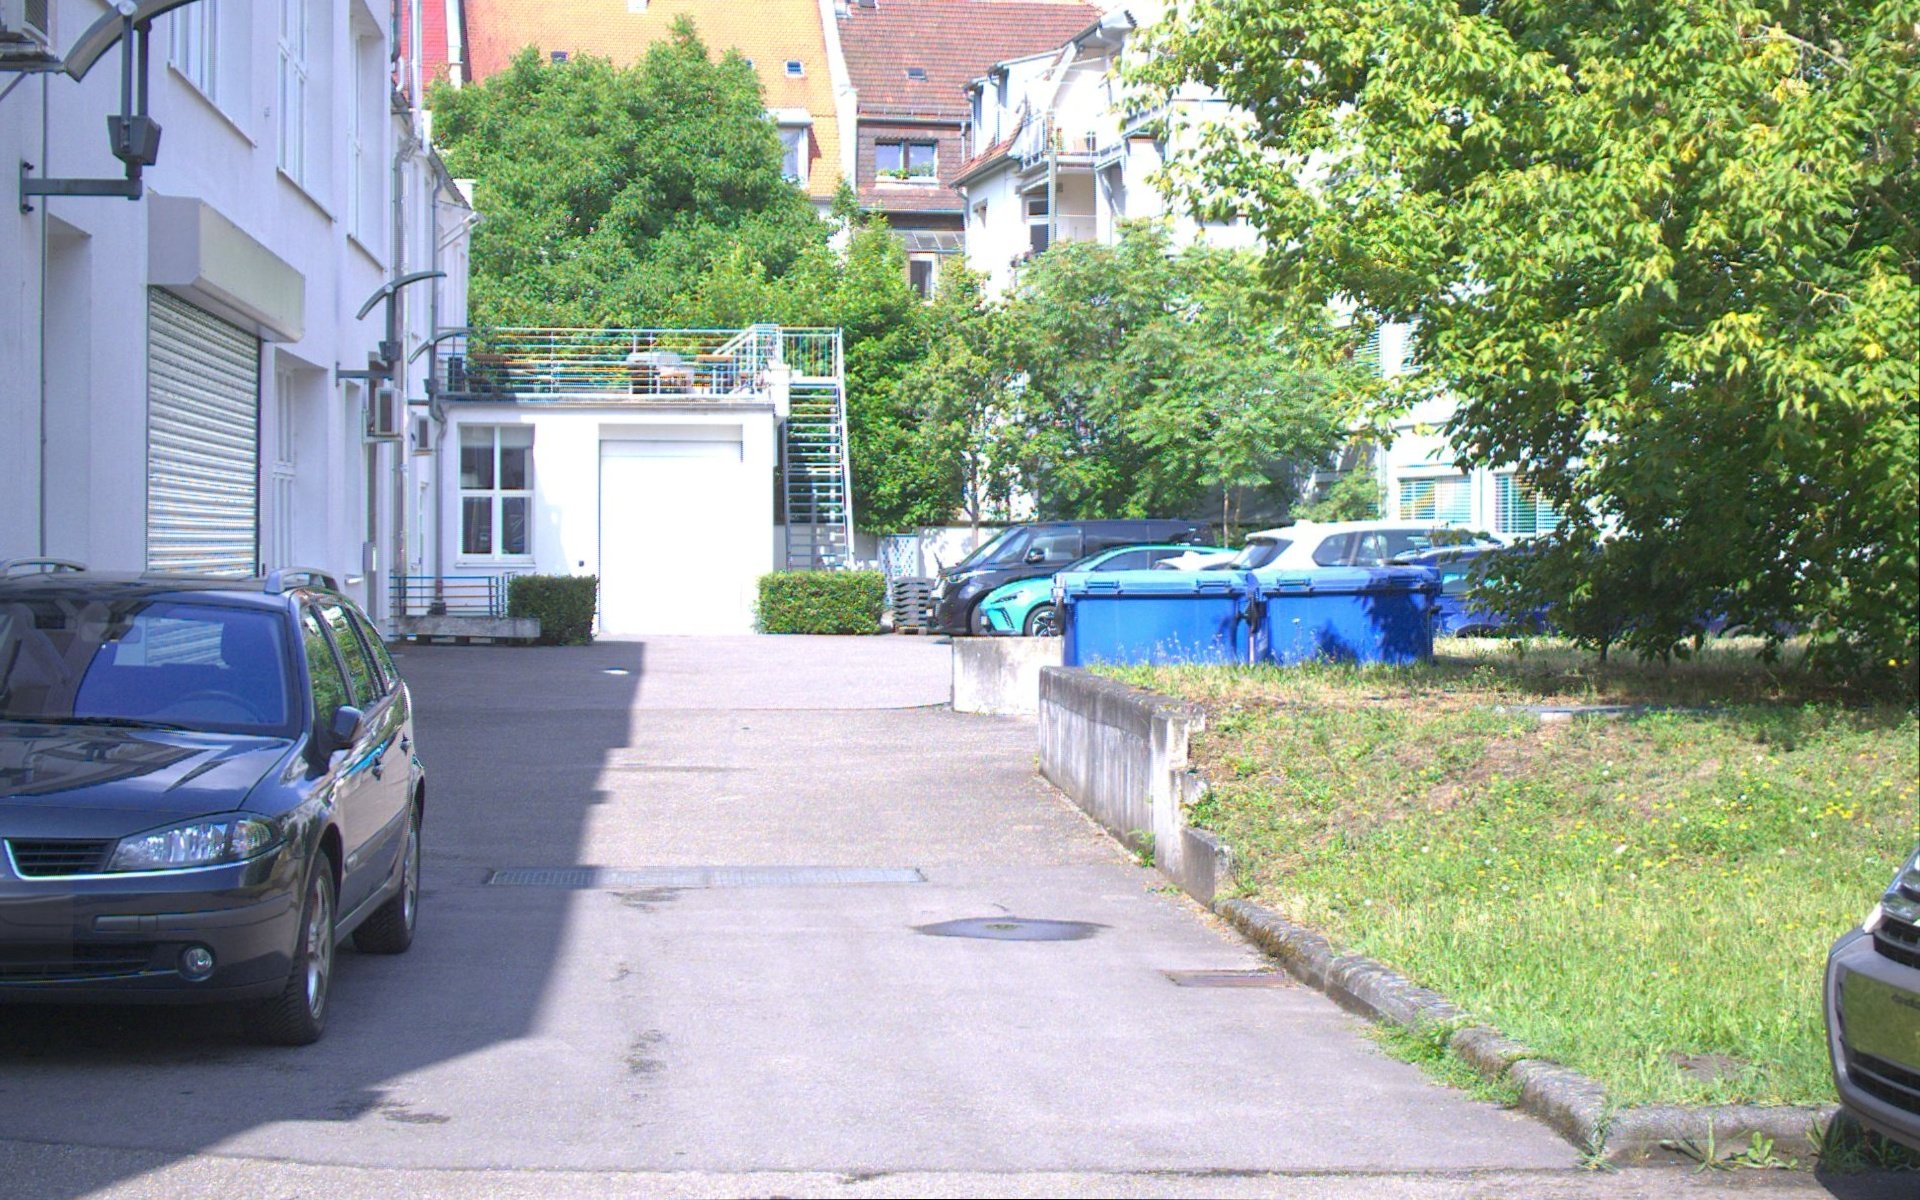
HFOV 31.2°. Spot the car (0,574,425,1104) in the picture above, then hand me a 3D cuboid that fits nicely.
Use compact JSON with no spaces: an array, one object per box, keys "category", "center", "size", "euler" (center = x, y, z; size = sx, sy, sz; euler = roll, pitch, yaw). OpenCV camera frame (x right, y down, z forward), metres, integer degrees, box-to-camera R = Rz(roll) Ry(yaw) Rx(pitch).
[{"category":"car","center":[-2.914,0.686,11.572],"size":[1.879,1.437,4.341],"euler":[2,-1,-5]}]

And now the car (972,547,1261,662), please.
[{"category":"car","center":[2.284,0.050,50.664],"size":[3.986,1.568,1.629],"euler":[-1,3,-10]}]

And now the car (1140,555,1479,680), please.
[{"category":"car","center":[4.416,0.205,43.683],"size":[3.986,1.440,1.629],"euler":[-1,3,-10]}]

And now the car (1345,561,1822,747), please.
[{"category":"car","center":[5.979,0.507,33.152],"size":[4.111,1.601,1.755],"euler":[2,1,-10]}]

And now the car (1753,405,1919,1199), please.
[{"category":"car","center":[4.503,0.574,7.697],"size":[4.938,1.958,2.000],"euler":[0,-2,-3]}]

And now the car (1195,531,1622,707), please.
[{"category":"car","center":[4.628,0.169,35.762],"size":[3.986,1.739,1.950],"euler":[0,2,-10]}]

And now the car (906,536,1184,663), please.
[{"category":"car","center":[1.300,-0.019,53.360],"size":[3.986,1.811,1.664],"euler":[2,1,-10]}]
